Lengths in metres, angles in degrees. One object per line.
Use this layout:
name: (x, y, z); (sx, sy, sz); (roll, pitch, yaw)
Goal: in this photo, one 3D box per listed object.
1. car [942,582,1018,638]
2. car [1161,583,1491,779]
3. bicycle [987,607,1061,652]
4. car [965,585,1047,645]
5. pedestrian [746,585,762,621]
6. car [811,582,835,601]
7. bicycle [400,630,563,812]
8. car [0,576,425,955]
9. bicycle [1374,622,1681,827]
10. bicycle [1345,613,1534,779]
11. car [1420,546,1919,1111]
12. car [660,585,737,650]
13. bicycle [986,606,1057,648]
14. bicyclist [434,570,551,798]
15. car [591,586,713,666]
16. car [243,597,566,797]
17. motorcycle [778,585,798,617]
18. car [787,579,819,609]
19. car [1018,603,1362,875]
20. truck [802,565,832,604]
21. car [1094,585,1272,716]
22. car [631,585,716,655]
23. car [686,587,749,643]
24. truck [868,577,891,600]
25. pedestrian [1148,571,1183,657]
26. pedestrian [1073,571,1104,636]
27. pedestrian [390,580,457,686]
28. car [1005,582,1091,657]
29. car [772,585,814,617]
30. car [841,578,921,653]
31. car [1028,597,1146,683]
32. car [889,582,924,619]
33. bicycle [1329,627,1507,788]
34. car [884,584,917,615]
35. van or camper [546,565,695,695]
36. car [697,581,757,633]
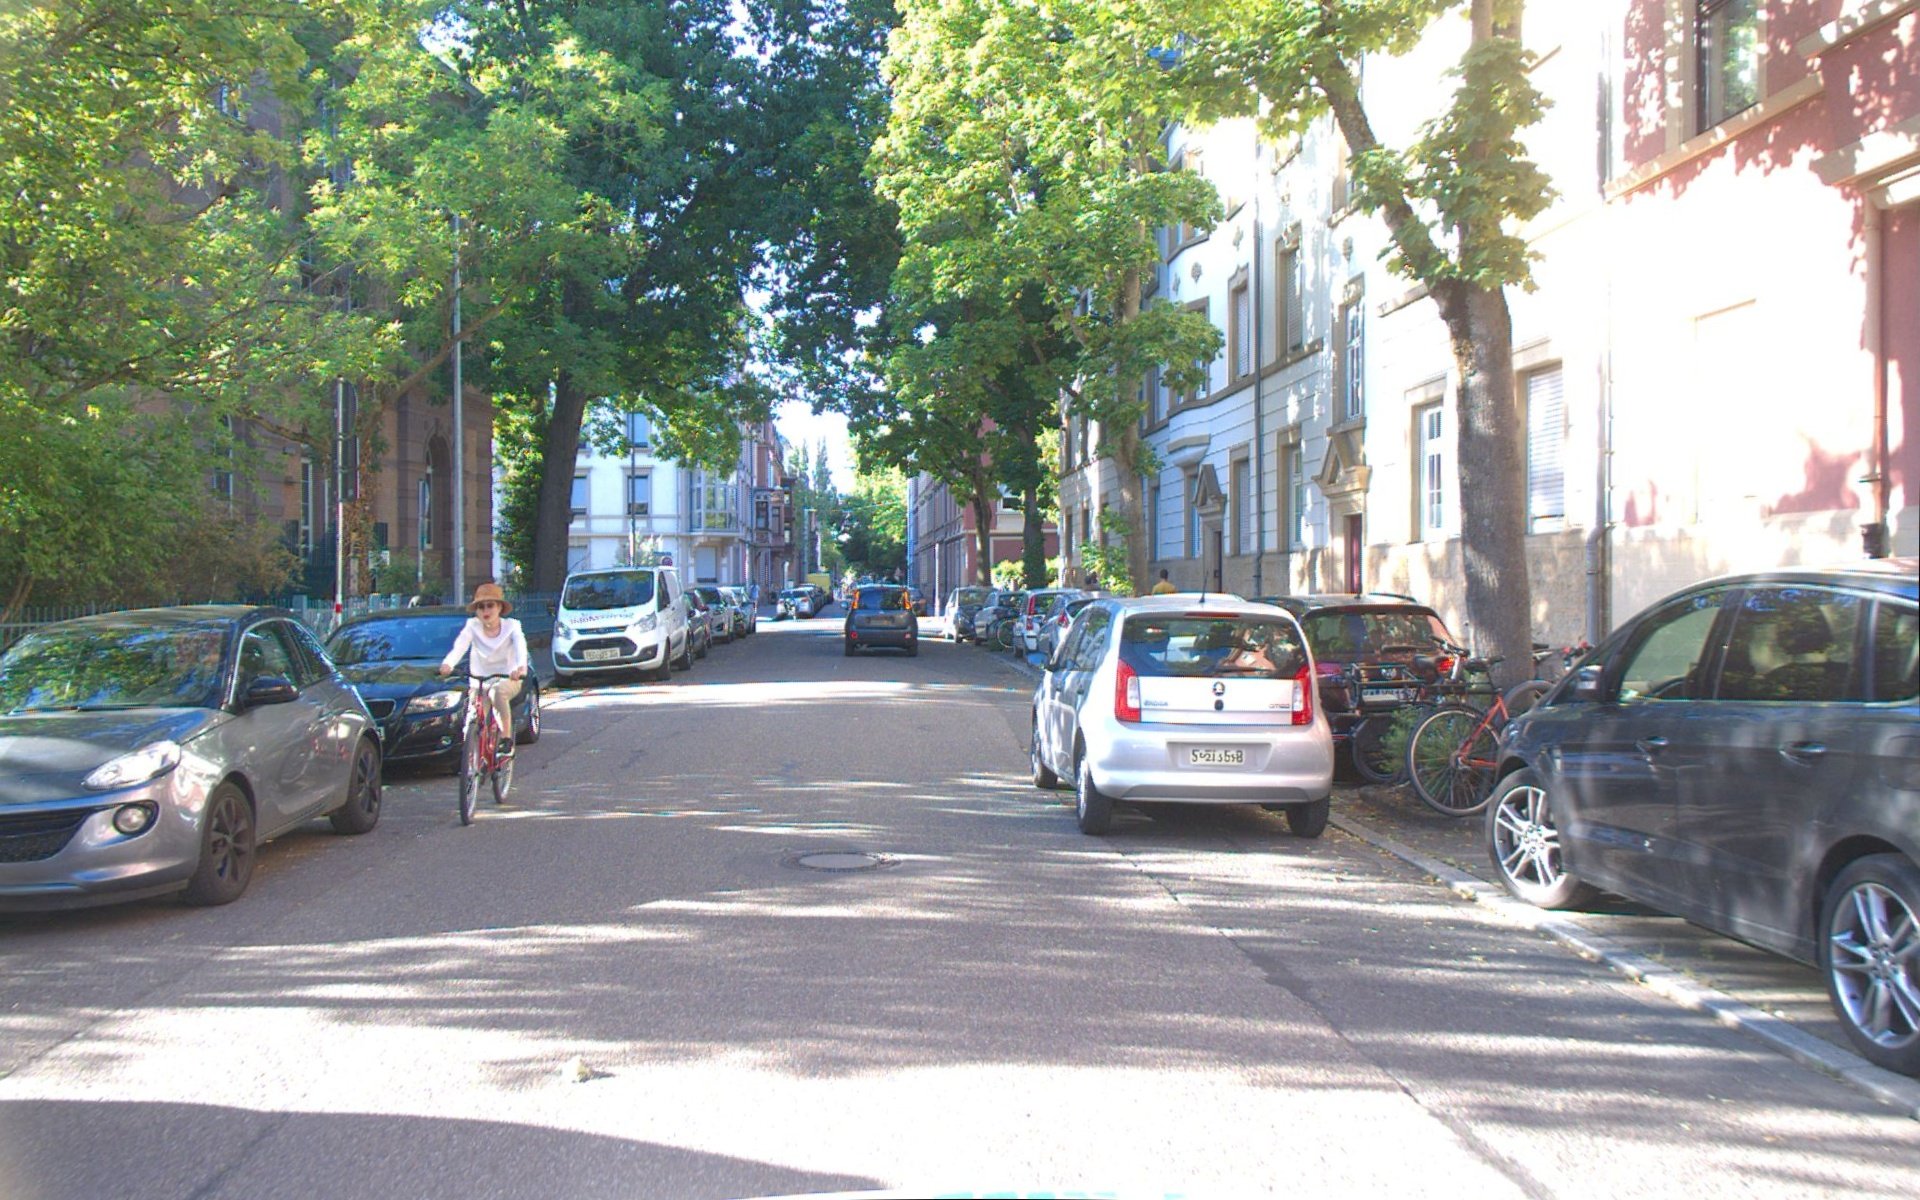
car: (0.556, 0.271, 49.796); (1.754, 1.578, 4.403); (0, 0, -6)
car: (3.165, 0.618, 15.274); (1.751, 1.540, 4.456); (0, 1, -5)
bicycle: (1.534, 0.701, 39.782); (1.734, 1.057, 0.605); (0, 0, -4)
car: (1.202, 0.373, 44.413); (1.580, 1.504, 3.863); (-1, 1, -8)
pedestrian: (-10.877, 0.174, 87.392); (0.707, 1.871, 0.627); (1, 1, 7)
car: (-12.447, -0.782, 150.077); (1.923, 1.504, 3.923); (-4, 1, -3)
bicycle: (-3.213, 0.775, 11.249); (0.651, 1.096, 1.685); (0, 0, -2)
car: (-4.432, 0.718, 9.222); (1.643, 1.600, 4.149); (-4, 1, -3)
bicycle: (3.672, 0.787, 10.761); (1.775, 1.187, 0.569); (-3, 1, -5)
bicycle: (3.535, 0.695, 12.206); (1.281, 1.160, 0.327); (-2, 0, -4)
car: (3.723, 0.671, 6.896); (1.849, 1.746, 4.939); (-1, 1, -5)
car: (-7.174, 0.444, 45.677); (1.790, 1.580, 4.128); (-4, 1, -6)
bicycle: (1.518, 0.663, 41.006); (1.681, 0.966, 0.733); (-1, 1, -4)
bicyclist: (-3.225, 0.562, 11.452); (0.638, 1.535, 0.624); (0, 0, -2)
car: (-6.523, 0.502, 35.466); (1.961, 1.483, 4.603); (-3, 1, -4)
car: (-4.964, 0.759, 15.494); (1.681, 1.419, 4.775); (-4, 1, -5)
motorcycle: (-8.227, 0.044, 79.073); (0.684, 1.486, 1.745); (-2, 1, -13)
car: (-9.849, -0.380, 103.861); (1.740, 1.728, 3.923); (-4, 1, -3)
car: (1.457, 0.842, 11.823); (1.646, 1.571, 3.797); (1, 1, -5)
truck: (-11.665, -1.288, 134.836); (2.030, 2.976, 5.065); (-4, 1, -3)
car: (2.796, 0.578, 21.481); (1.565, 1.514, 3.745); (-1, 1, -4)
car: (-6.934, 0.443, 40.347); (1.570, 1.485, 4.024); (-3, 1, -4)
car: (-7.455, 0.418, 50.572); (1.714, 1.500, 4.454); (-5, 1, -9)
truck: (-7.231, -1.043, 148.879); (1.954, 2.026, 3.997); (-1, 1, -4)
pedestrian: (4.152, 0.275, 33.445); (0.583, 1.731, 0.688); (0, 0, -2)
pedestrian: (3.498, 0.089, 44.985); (0.762, 1.724, 0.874); (0, 0, -1)
pedestrian: (-8.214, 0.496, 25.358); (0.863, 1.604, 0.529); (0, 0, -3)
car: (1.888, 0.391, 36.276); (1.490, 1.537, 3.541); (-1, 1, -3)
car: (-8.303, 0.030, 82.371); (1.761, 1.456, 3.923); (-4, 1, -3)
car: (-1.793, 0.307, 36.599); (1.601, 1.577, 3.260); (0, 1, -6)
car: (2.253, 0.681, 30.359); (1.590, 1.418, 4.154); (-1, 1, -3)
car: (-2.624, -0.006, 80.308); (1.630, 1.698, 3.755); (1, 1, -3)
bicycle: (3.274, 0.762, 11.839); (1.177, 1.094, 0.298); (-2, 0, -5)
car: (-3.075, -0.039, 84.778); (1.630, 1.531, 3.755); (1, 1, -3)
van or camper: (-6.029, 0.466, 29.974); (1.884, 2.014, 5.456); (-4, 1, -5)
car: (-7.815, 0.206, 55.655); (1.663, 1.577, 3.916); (-4, 1, -4)
